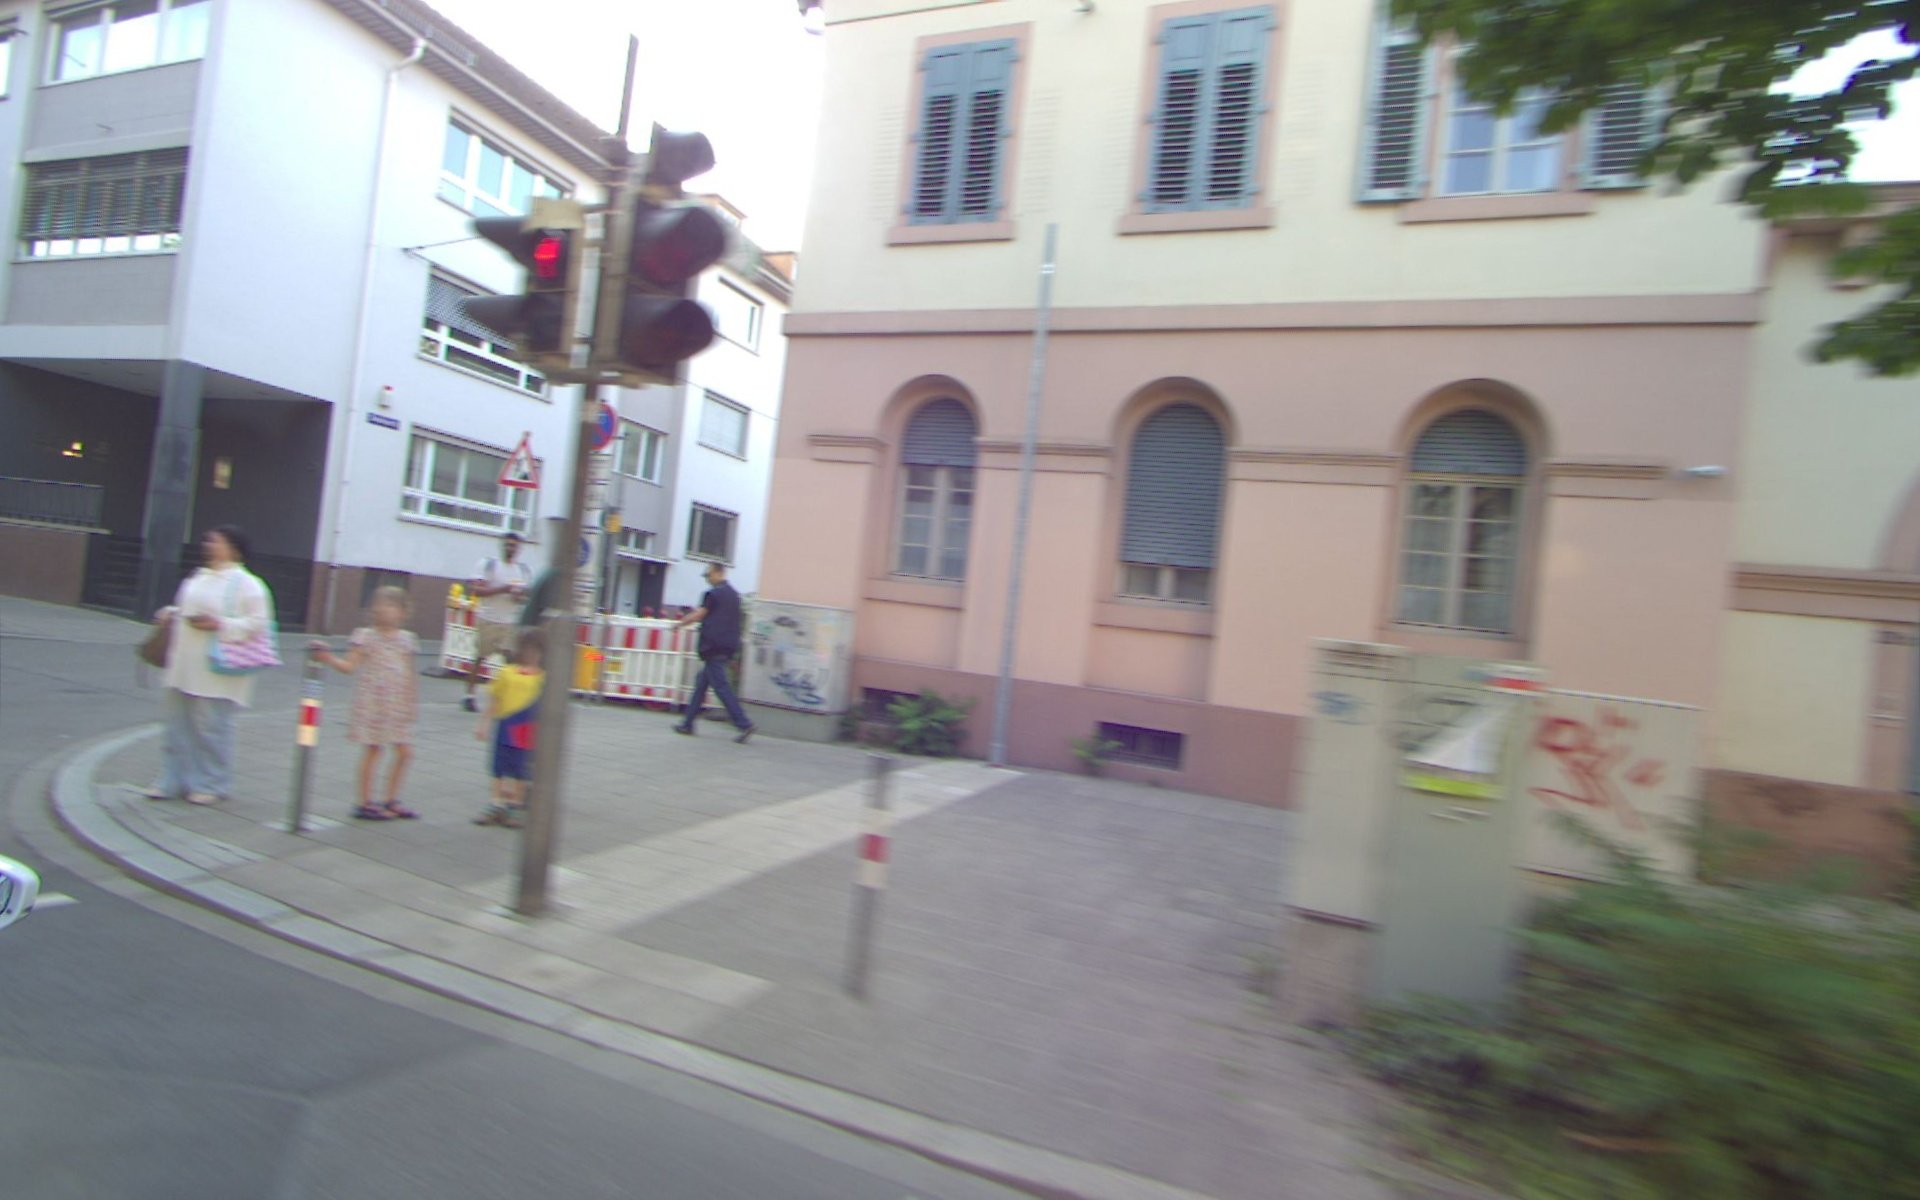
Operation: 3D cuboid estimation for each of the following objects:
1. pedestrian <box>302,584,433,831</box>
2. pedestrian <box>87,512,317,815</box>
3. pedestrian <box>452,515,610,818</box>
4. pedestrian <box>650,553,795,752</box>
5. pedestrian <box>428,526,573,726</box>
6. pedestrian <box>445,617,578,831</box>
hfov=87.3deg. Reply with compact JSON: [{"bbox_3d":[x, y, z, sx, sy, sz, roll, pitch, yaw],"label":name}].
[{"bbox_3d":[-3.295,0.581,5.594,0.486,1.278,0.447,5,1,-38],"label":"pedestrian"},{"bbox_3d":[-4.166,0.341,5.577,0.708,1.530,0.598,6,1,-6],"label":"pedestrian"},{"bbox_3d":[-2.727,0.405,6.413,0.565,1.797,0.544,6,1,24],"label":"pedestrian"},{"bbox_3d":[-2.378,0.507,10.095,1.046,1.818,0.699,6,1,23],"label":"pedestrian"},{"bbox_3d":[-4.680,0.256,10.255,1.031,1.878,0.698,6,0,28],"label":"pedestrian"},{"bbox_3d":[-2.628,0.713,5.937,0.536,1.160,0.492,6,1,-13],"label":"pedestrian"}]
